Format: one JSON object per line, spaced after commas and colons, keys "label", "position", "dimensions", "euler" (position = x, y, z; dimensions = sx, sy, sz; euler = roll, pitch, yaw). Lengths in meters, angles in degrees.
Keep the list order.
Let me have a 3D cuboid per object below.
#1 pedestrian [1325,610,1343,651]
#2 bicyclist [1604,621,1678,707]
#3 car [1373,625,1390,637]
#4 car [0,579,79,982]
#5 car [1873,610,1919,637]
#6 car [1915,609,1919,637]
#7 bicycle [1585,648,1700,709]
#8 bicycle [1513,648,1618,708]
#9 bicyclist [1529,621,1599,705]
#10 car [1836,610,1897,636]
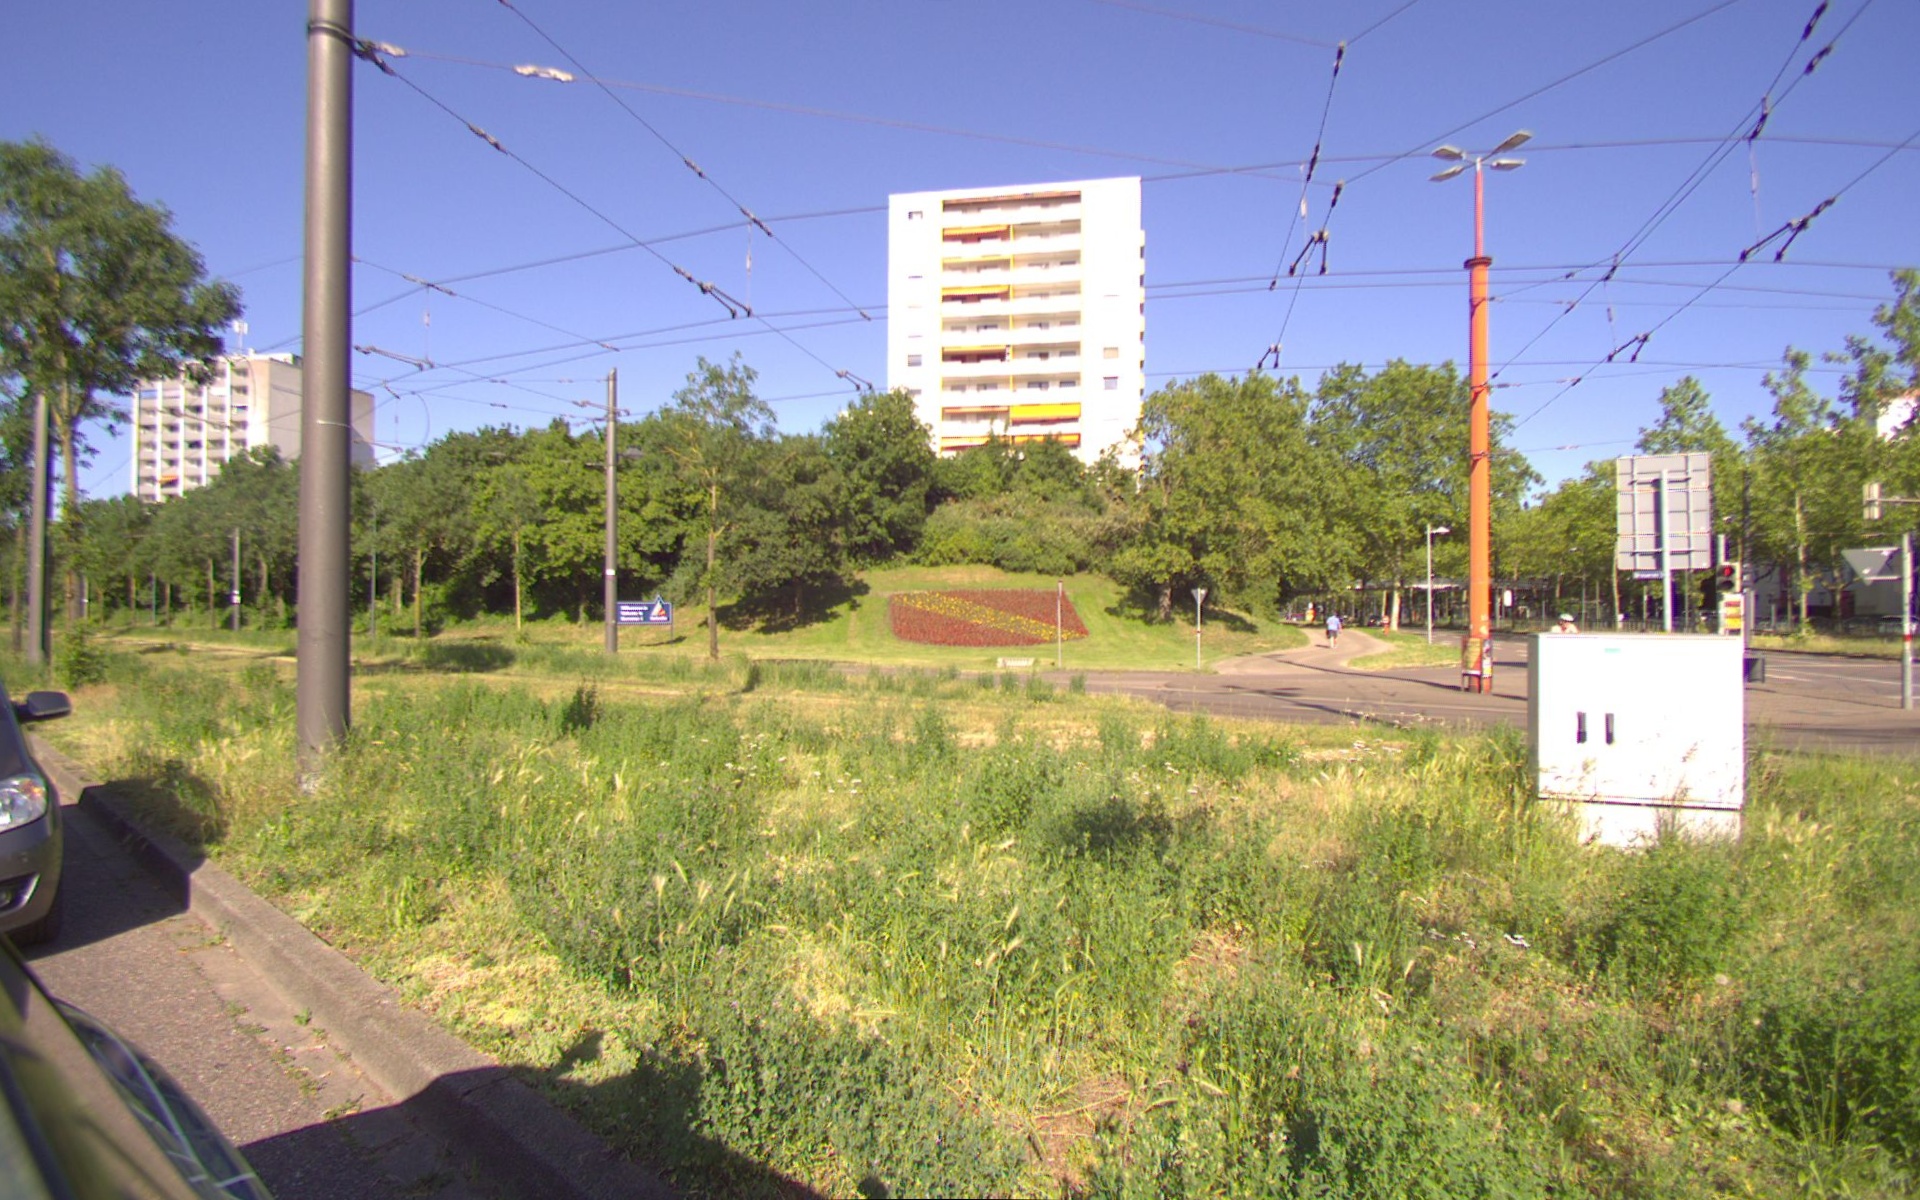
{"label": "pedestrian", "position": [17.972, 1.472, 48.611], "dimensions": [0.729, 1.949, 0.726], "euler": [-1, -2, 24]}
{"label": "bicyclist", "position": [13.363, 1.238, 19.873], "dimensions": [0.920, 1.650, 0.741], "euler": [0, -1, -1]}
{"label": "car", "position": [56.631, 4.146, 136.098], "dimensions": [1.928, 1.606, 3.882], "euler": [-1, -1, 20]}
{"label": "car", "position": [-5.932, 0.751, 5.035], "dimensions": [4.382, 1.619, 1.754], "euler": [-1, -2, 41]}
{"label": "car", "position": [65.261, 1.641, 69.852], "dimensions": [3.931, 1.829, 2.006], "euler": [1, -2, -27]}
{"label": "car", "position": [64.418, 1.503, 65.890], "dimensions": [3.931, 1.829, 2.006], "euler": [1, -2, -27]}
{"label": "bicycle", "position": [13.366, 1.518, 19.906], "dimensions": [0.915, 1.095, 1.888], "euler": [0, -1, -2]}
{"label": "bicycle", "position": [12.101, 1.533, 20.308], "dimensions": [0.915, 1.095, 1.888], "euler": [0, -1, -2]}
{"label": "bicyclist", "position": [12.105, 1.255, 20.292], "dimensions": [0.920, 1.650, 0.741], "euler": [0, -1, -1]}
{"label": "car", "position": [66.029, 1.697, 73.748], "dimensions": [3.931, 1.829, 2.006], "euler": [1, -2, -27]}
